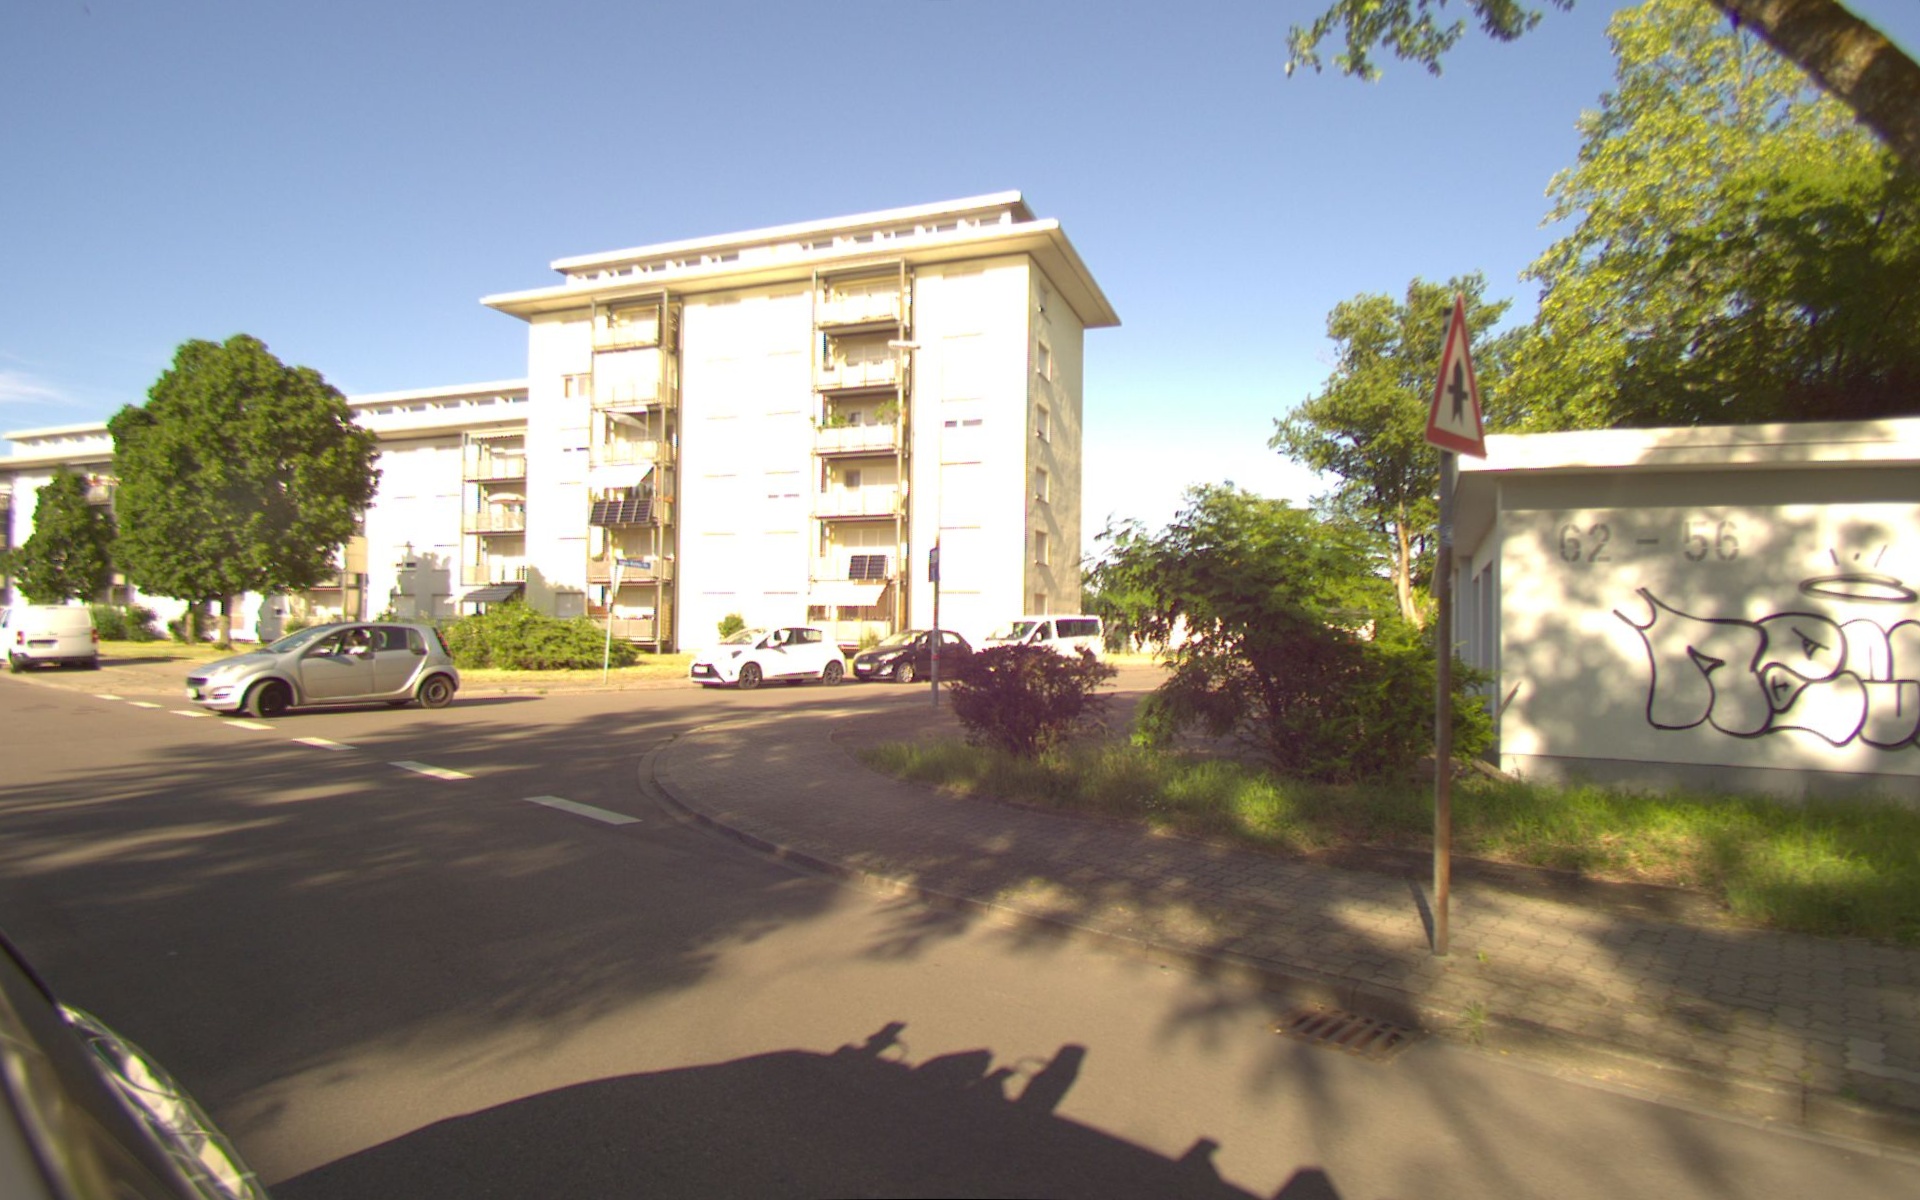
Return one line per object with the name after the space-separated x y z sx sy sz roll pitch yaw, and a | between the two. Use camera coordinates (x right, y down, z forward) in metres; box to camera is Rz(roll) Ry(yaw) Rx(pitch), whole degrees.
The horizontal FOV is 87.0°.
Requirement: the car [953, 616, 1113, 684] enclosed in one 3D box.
2.369 1.577 31.665 2.238 1.966 5.047 -2 -4 45 | car

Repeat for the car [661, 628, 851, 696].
-4.756 1.441 23.968 2.044 1.475 3.942 -2 -4 44 | car

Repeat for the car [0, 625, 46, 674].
-32.083 1.612 33.681 4.216 1.529 1.815 -1 -1 38 | car

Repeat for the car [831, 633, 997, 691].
-1.197 1.698 28.007 2.044 1.472 4.392 -2 -4 44 | car

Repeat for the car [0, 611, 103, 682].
-27.020 1.307 29.631 5.184 1.900 1.995 -1 -1 39 | car

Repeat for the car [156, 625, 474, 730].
-10.279 1.180 16.340 1.996 1.472 3.888 -2 -3 40 | car
